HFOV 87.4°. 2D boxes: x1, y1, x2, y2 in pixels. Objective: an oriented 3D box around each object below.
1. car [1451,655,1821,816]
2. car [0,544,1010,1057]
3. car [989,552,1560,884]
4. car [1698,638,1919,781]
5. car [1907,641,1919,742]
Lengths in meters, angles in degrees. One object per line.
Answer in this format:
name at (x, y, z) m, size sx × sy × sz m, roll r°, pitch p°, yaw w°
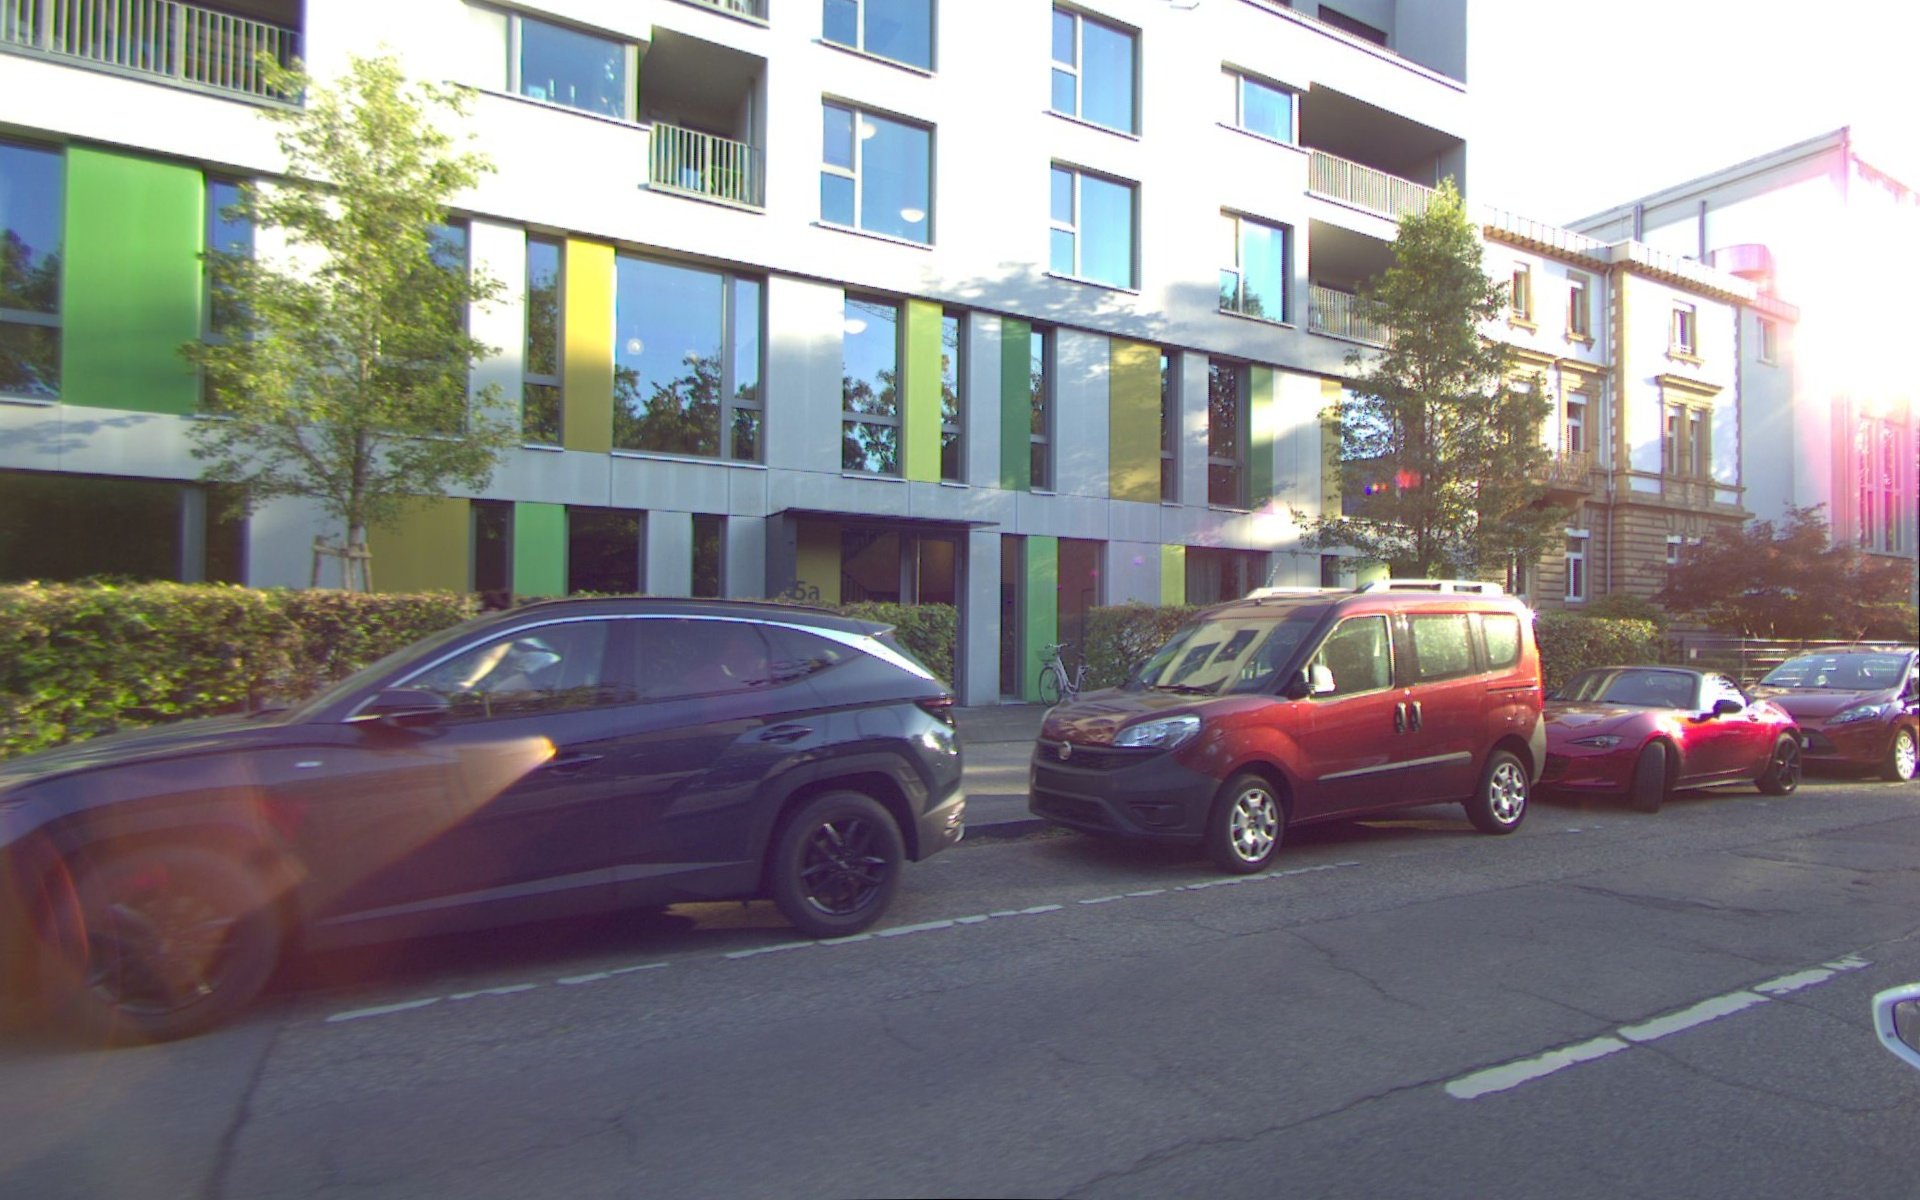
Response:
car at (6.700, 1.203, 9.895) m, size 3.688 × 1.297 × 1.549 m, roll 2°, pitch -3°, yaw -30°
car at (-2.041, 0.739, 5.002) m, size 4.364 × 1.698 × 1.734 m, roll 2°, pitch -3°, yaw -30°
car at (2.459, 0.762, 7.648) m, size 4.187 × 1.914 × 1.800 m, roll 2°, pitch -3°, yaw -30°
car at (10.728, 1.206, 12.065) m, size 3.815 × 1.474 × 1.591 m, roll 2°, pitch -2°, yaw -30°
car at (16.065, 1.360, 15.067) m, size 4.006 × 1.474 × 1.591 m, roll 2°, pitch -3°, yaw -30°
